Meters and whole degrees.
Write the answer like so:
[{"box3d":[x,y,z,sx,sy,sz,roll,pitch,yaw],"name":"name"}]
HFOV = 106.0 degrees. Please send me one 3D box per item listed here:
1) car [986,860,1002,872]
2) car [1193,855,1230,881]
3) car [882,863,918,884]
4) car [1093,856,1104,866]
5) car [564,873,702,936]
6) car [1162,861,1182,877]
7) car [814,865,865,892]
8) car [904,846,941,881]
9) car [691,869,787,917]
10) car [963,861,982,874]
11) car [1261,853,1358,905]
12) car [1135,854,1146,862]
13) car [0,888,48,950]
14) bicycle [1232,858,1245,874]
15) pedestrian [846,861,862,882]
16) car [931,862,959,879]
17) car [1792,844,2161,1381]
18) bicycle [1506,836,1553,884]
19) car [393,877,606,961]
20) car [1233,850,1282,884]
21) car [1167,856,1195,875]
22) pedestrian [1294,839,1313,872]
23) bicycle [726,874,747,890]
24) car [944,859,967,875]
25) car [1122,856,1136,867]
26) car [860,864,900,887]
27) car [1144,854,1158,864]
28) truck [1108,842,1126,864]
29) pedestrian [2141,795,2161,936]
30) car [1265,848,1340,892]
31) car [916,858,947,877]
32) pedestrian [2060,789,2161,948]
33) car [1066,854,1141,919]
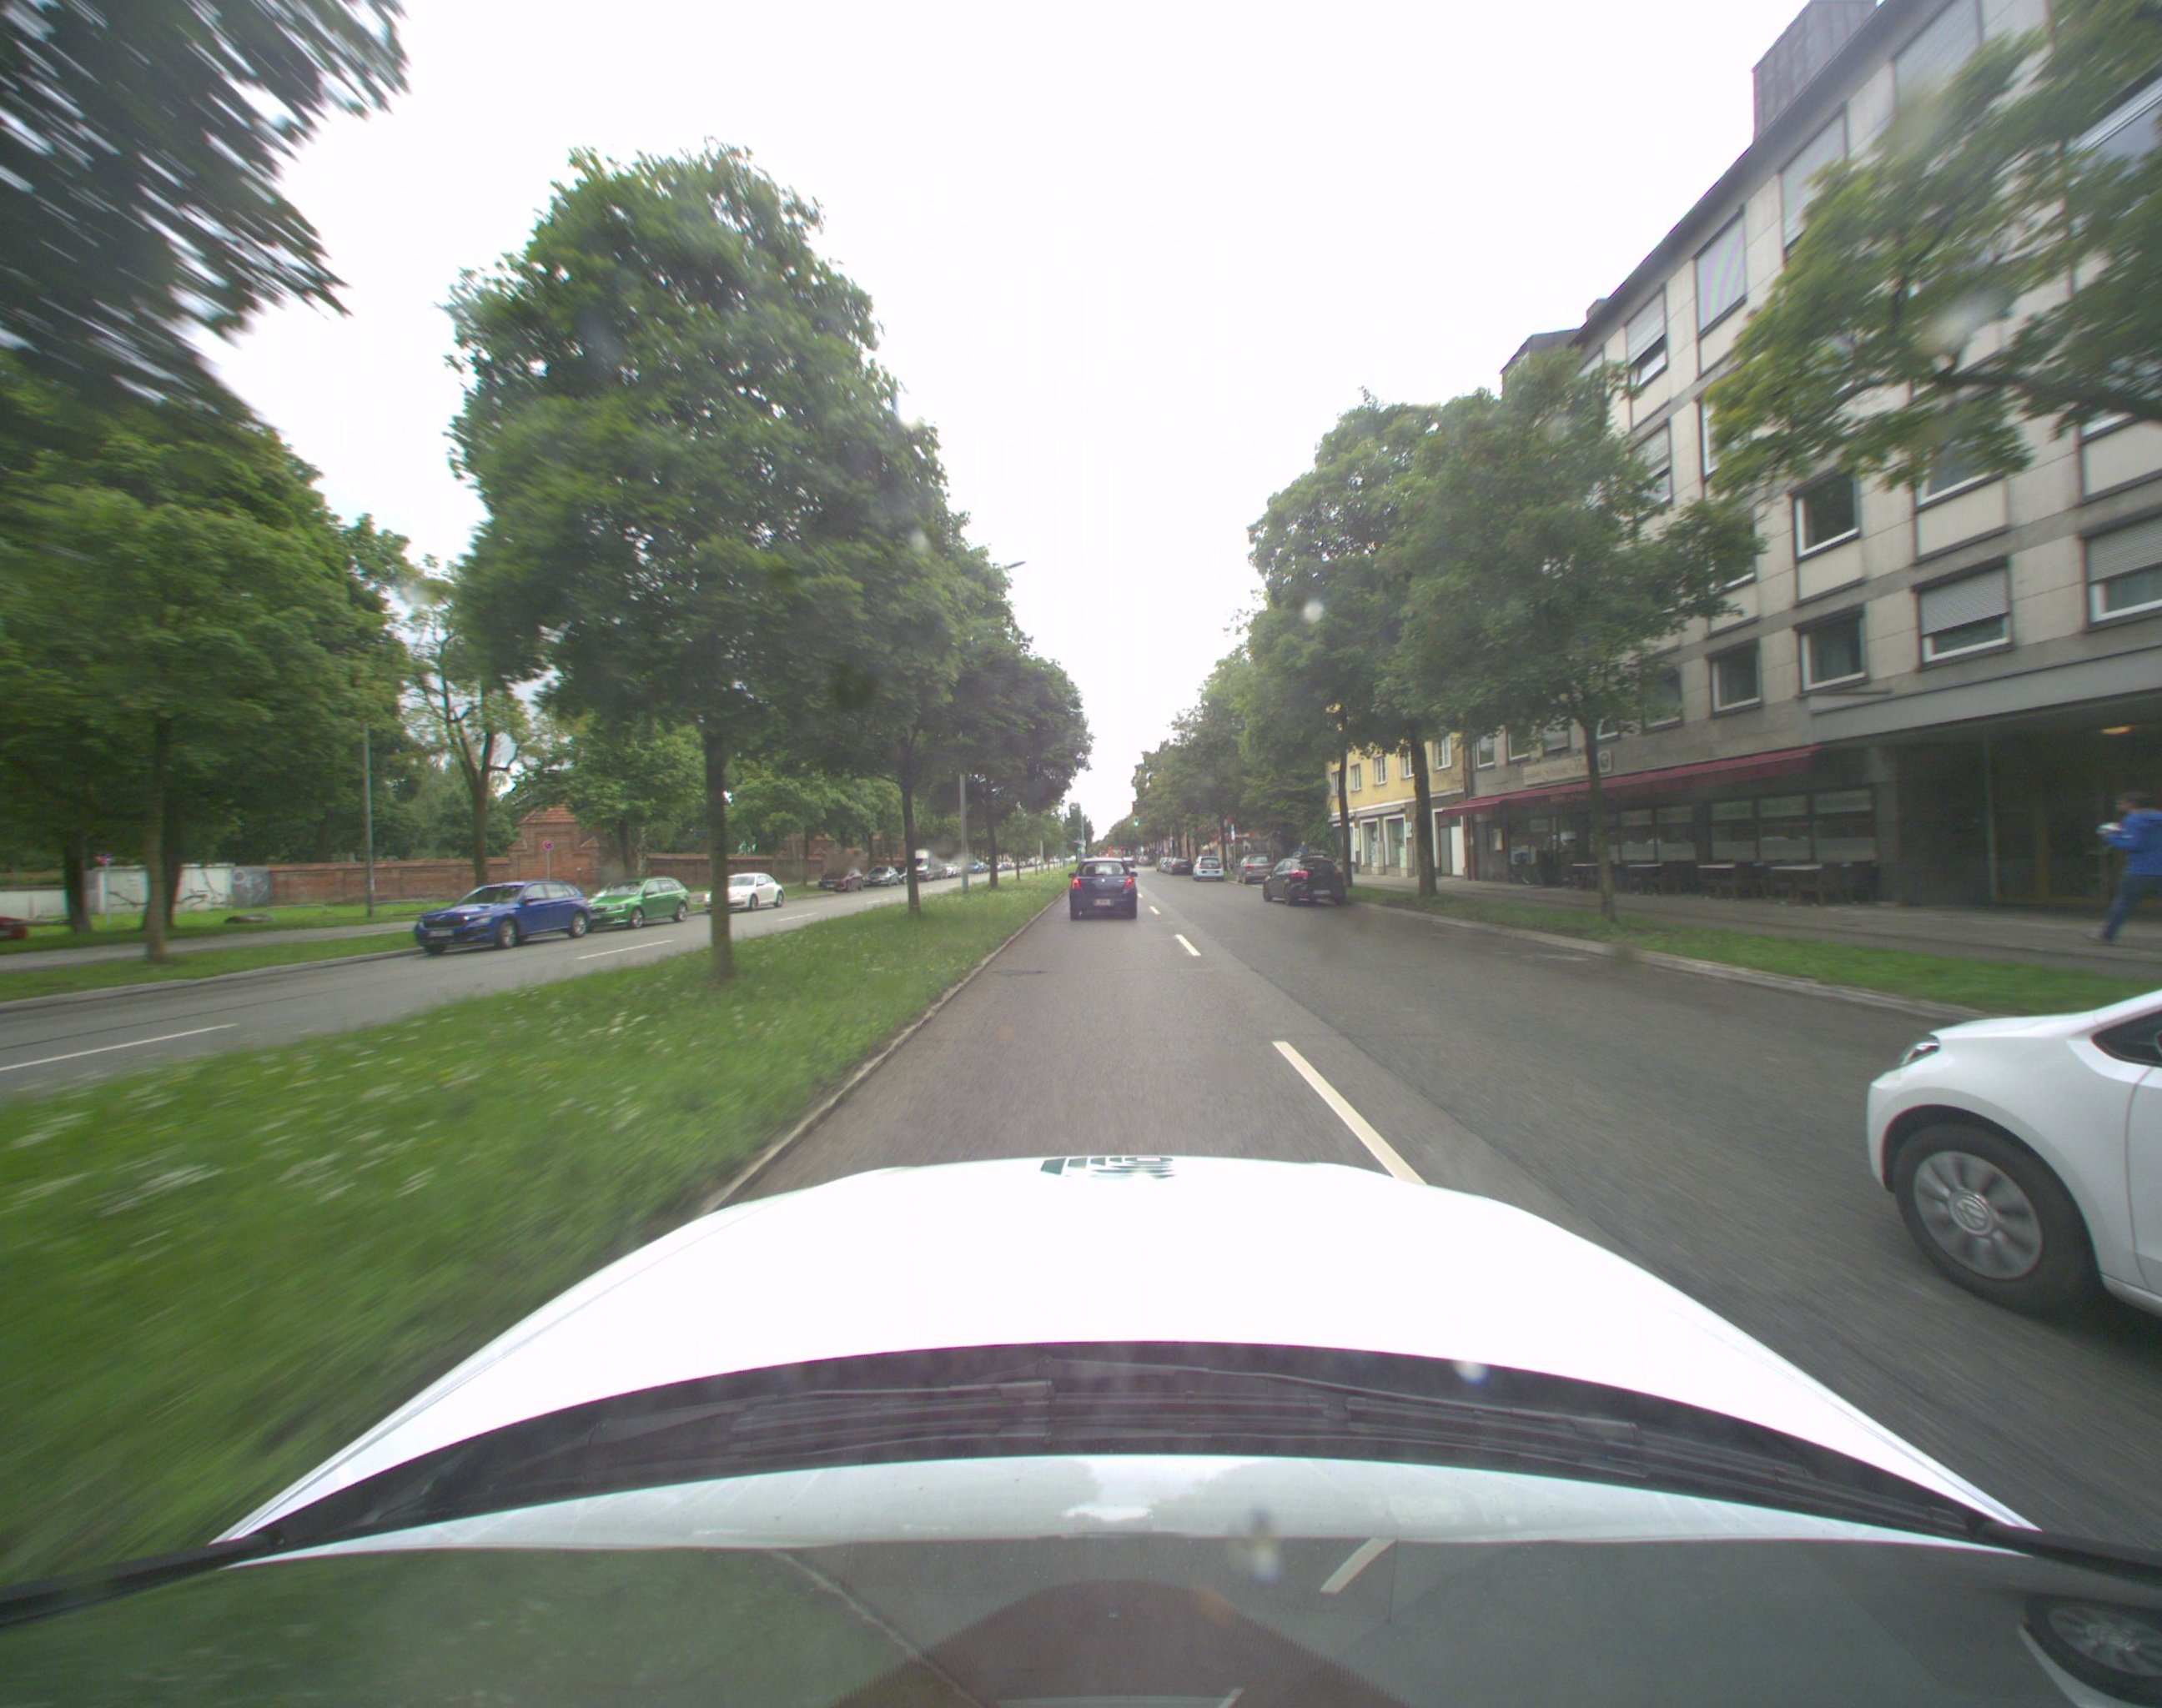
[{"box3d":[-12.914,1.777,121.413,1.795,1.534,4.001,-2,0,1],"name":"car"},{"box3d":[7.981,0.831,50.062,1.648,1.452,4.001,-3,0,1],"name":"car"},{"box3d":[-14.638,1.572,66.036,1.807,1.536,4.820,-1,0,1],"name":"car"},{"box3d":[2.912,1.160,137.081,1.712,1.500,4.302,-1,0,1],"name":"car"},{"box3d":[-13.508,1.473,24.879,1.632,1.537,4.316,-4,0,1],"name":"car"},{"box3d":[8.594,1.404,77.093,1.688,1.452,4.126,-2,0,3],"name":"car"},{"box3d":[-14.926,1.482,50.502,1.807,1.536,4.298,-1,0,1],"name":"car"},{"box3d":[-14.081,0.823,72.818,2.179,2.954,6.189,-1,0,-1],"name":"car"},{"box3d":[-13.397,1.481,32.201,1.755,1.537,4.316,-4,0,1],"name":"car"},{"box3d":[-13.953,1.748,104.842,1.700,1.534,4.001,-2,0,1],"name":"car"},{"box3d":[7.052,0.727,25.549,1.986,1.452,4.002,-2,0,2],"name":"car"},{"box3d":[11.808,0.757,161.418,1.986,1.530,4.001,-2,0,1],"name":"car"},{"box3d":[-27.305,1.601,18.925,4.397,1.392,1.760,-2,0,1],"name":"car"},{"box3d":[9.706,0.747,50.246,0.446,0.980,1.799,-1,0,1],"name":"bicycle"},{"box3d":[-17.664,1.382,63.372,0.766,1.567,0.800,-2,0,37],"name":"pedestrian"},{"box3d":[-14.209,1.712,85.344,2.179,1.736,4.576,-1,0,-1],"name":"car"},{"box3d":[3.816,0.710,1.735,1.680,1.490,3.436,0,0,2],"name":"car"},{"box3d":[14.440,0.183,26.283,0.578,1.463,1.689,-2,0,2],"name":"bicycle"},{"box3d":[-13.642,1.443,19.502,1.881,1.537,4.313,-4,0,0],"name":"car"},{"box3d":[9.425,0.664,43.800,1.808,1.626,4.310,-3,0,3],"name":"car"},{"box3d":[8.151,0.892,66.521,1.648,1.452,4.707,-2,0,0],"name":"car"},{"box3d":[13.054,0.107,47.776,0.790,1.855,0.776,-4,0,-2],"name":"pedestrian"},{"box3d":[-22.093,1.798,52.307,0.653,0.936,1.619,-2,0,-1],"name":"bicycle"},{"box3d":[-13.946,1.417,90.588,1.700,1.734,4.001,-2,0,1],"name":"car"},{"box3d":[6.409,0.994,109.001,1.815,1.477,4.692,0,0,1],"name":"car"},{"box3d":[-14.840,1.564,60.413,1.807,1.536,4.441,-1,0,1],"name":"car"},{"box3d":[11.460,0.744,132.694,1.986,1.530,4.001,-2,0,1],"name":"car"},{"box3d":[6.326,-0.204,143.599,3.029,3.557,13.682,-1,0,2],"name":"truck"},{"box3d":[12.717,0.122,9.199,0.547,1.629,0.641,-3,0,1],"name":"pedestrian"},{"box3d":[9.021,0.616,33.520,1.986,1.643,4.335,-2,0,2],"name":"car"},{"box3d":[-14.599,1.331,79.821,2.179,1.736,4.576,-1,0,-1],"name":"car"},{"box3d":[11.855,0.157,9.266,0.498,1.733,0.733,-2,0,1],"name":"pedestrian"},{"box3d":[0.617,0.778,21.476,1.746,1.505,4.002,-2,0,2],"name":"car"}]
